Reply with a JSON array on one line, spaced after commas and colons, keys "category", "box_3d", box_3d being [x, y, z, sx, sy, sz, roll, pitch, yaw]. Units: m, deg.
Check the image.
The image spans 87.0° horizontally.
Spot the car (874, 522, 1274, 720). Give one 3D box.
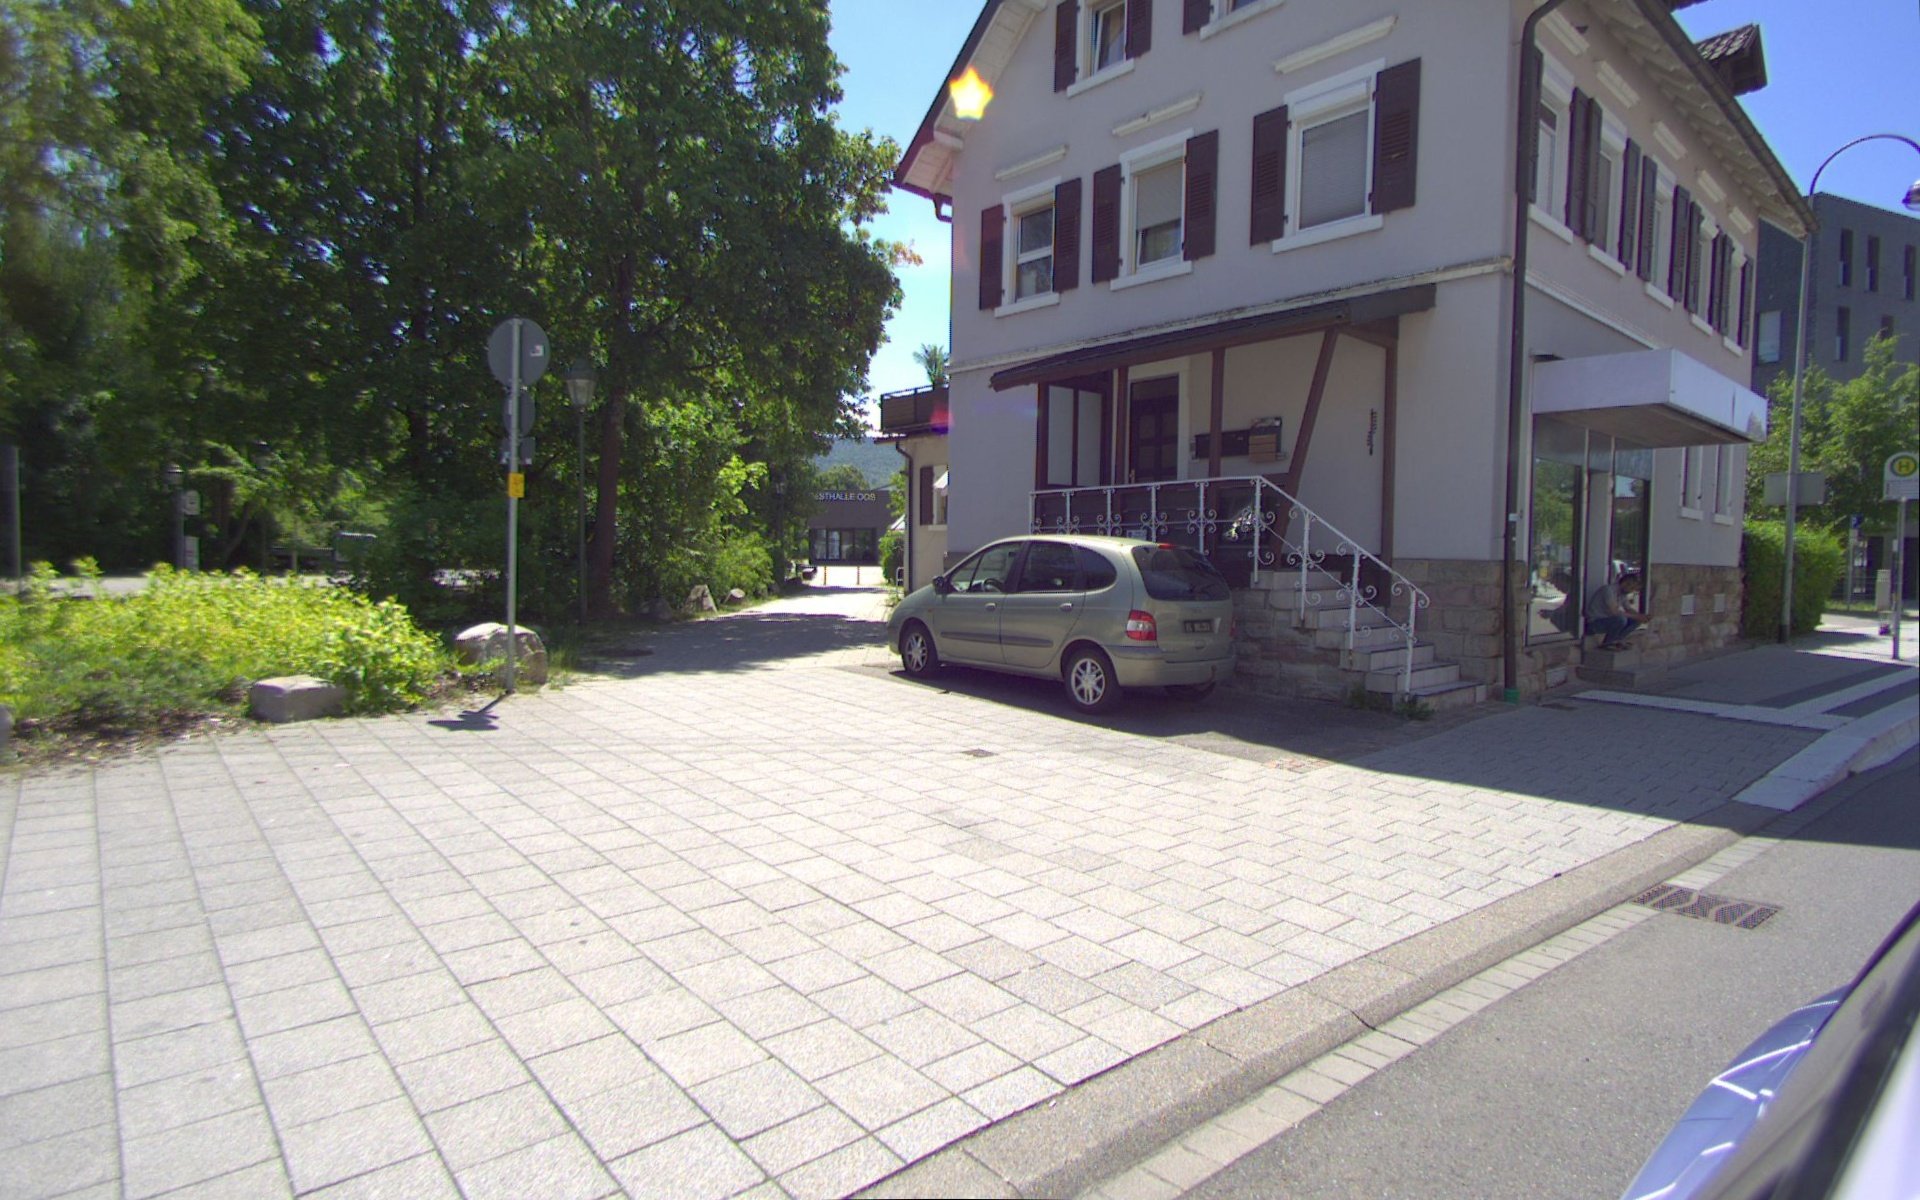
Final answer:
[{"category": "car", "box_3d": [0.994, 0.041, 10.654, 1.770, 1.614, 4.072, -1, 5, -40]}]

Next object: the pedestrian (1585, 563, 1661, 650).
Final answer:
[{"category": "pedestrian", "box_3d": [8.210, 0.063, 12.535, 0.712, 1.011, 0.591, -1, 4, -43]}]

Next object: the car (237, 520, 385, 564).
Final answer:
[{"category": "car", "box_3d": [-36.298, -3.235, 56.806, 6.624, 2.266, 2.199, 0, 3, -11]}]
